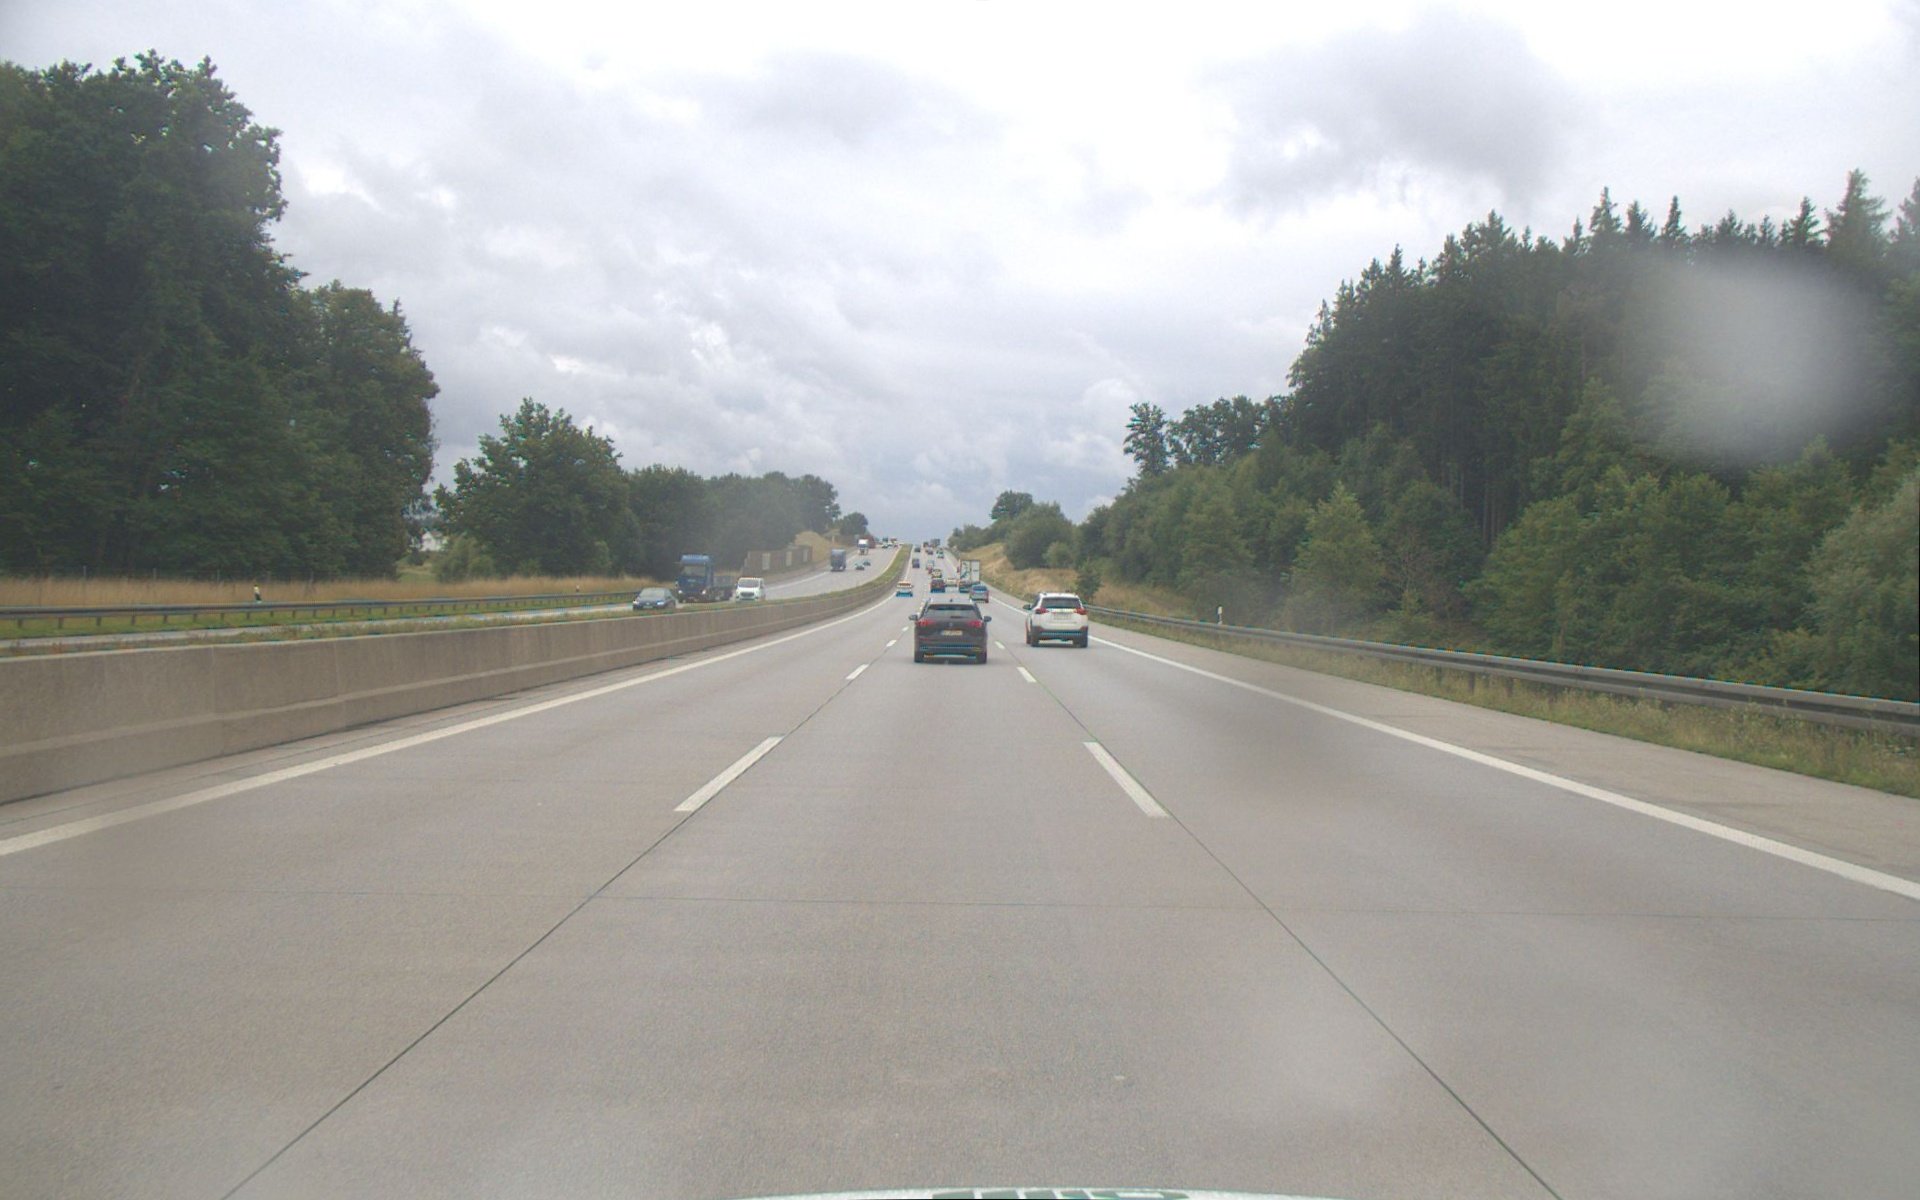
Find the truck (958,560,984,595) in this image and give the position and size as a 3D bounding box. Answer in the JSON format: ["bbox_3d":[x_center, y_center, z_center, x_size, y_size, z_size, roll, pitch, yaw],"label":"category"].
[{"bbox_3d":[1.304,-2.916,207.923,2.956,4.253,8.353,1,1,-1],"label":"truck"}]

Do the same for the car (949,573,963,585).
[{"bbox_3d":[-0.553,-3.106,242.832,1.952,1.668,4.001,1,1,1],"label":"car"}]

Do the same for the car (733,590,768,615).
[{"bbox_3d":[-15.972,0.227,126.348,2.045,1.833,5.496,1,0,-1],"label":"car"}]

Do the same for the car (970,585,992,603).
[{"bbox_3d":[1.939,-0.536,153.885,1.953,1.557,3.999,1,0,-1],"label":"car"}]

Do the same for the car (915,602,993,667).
[{"bbox_3d":[-0.121,0.790,39.366,1.716,1.422,4.484,1,-1,0],"label":"car"}]

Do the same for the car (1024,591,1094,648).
[{"bbox_3d":[3.099,0.600,52.511,1.789,1.684,3.983,1,0,-2],"label":"car"}]

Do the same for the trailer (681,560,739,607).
[{"bbox_3d":[-20.344,-1.295,135.264,2.729,3.569,13.882,1,0,-1],"label":"trailer"}]

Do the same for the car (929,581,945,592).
[{"bbox_3d":[-2.801,-1.688,205.887,1.896,1.399,4.594,2,0,0],"label":"car"}]

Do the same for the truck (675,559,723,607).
[{"bbox_3d":[-20.238,-1.260,128.591,2.701,3.578,6.639,1,0,-1],"label":"truck"}]

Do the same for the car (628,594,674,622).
[{"bbox_3d":[-16.355,0.428,87.738,1.810,1.400,4.434,1,0,-3],"label":"car"}]

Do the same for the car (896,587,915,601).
[{"bbox_3d":[-5.916,-0.646,179.667,1.908,1.380,4.258,1,-1,0],"label":"car"}]
